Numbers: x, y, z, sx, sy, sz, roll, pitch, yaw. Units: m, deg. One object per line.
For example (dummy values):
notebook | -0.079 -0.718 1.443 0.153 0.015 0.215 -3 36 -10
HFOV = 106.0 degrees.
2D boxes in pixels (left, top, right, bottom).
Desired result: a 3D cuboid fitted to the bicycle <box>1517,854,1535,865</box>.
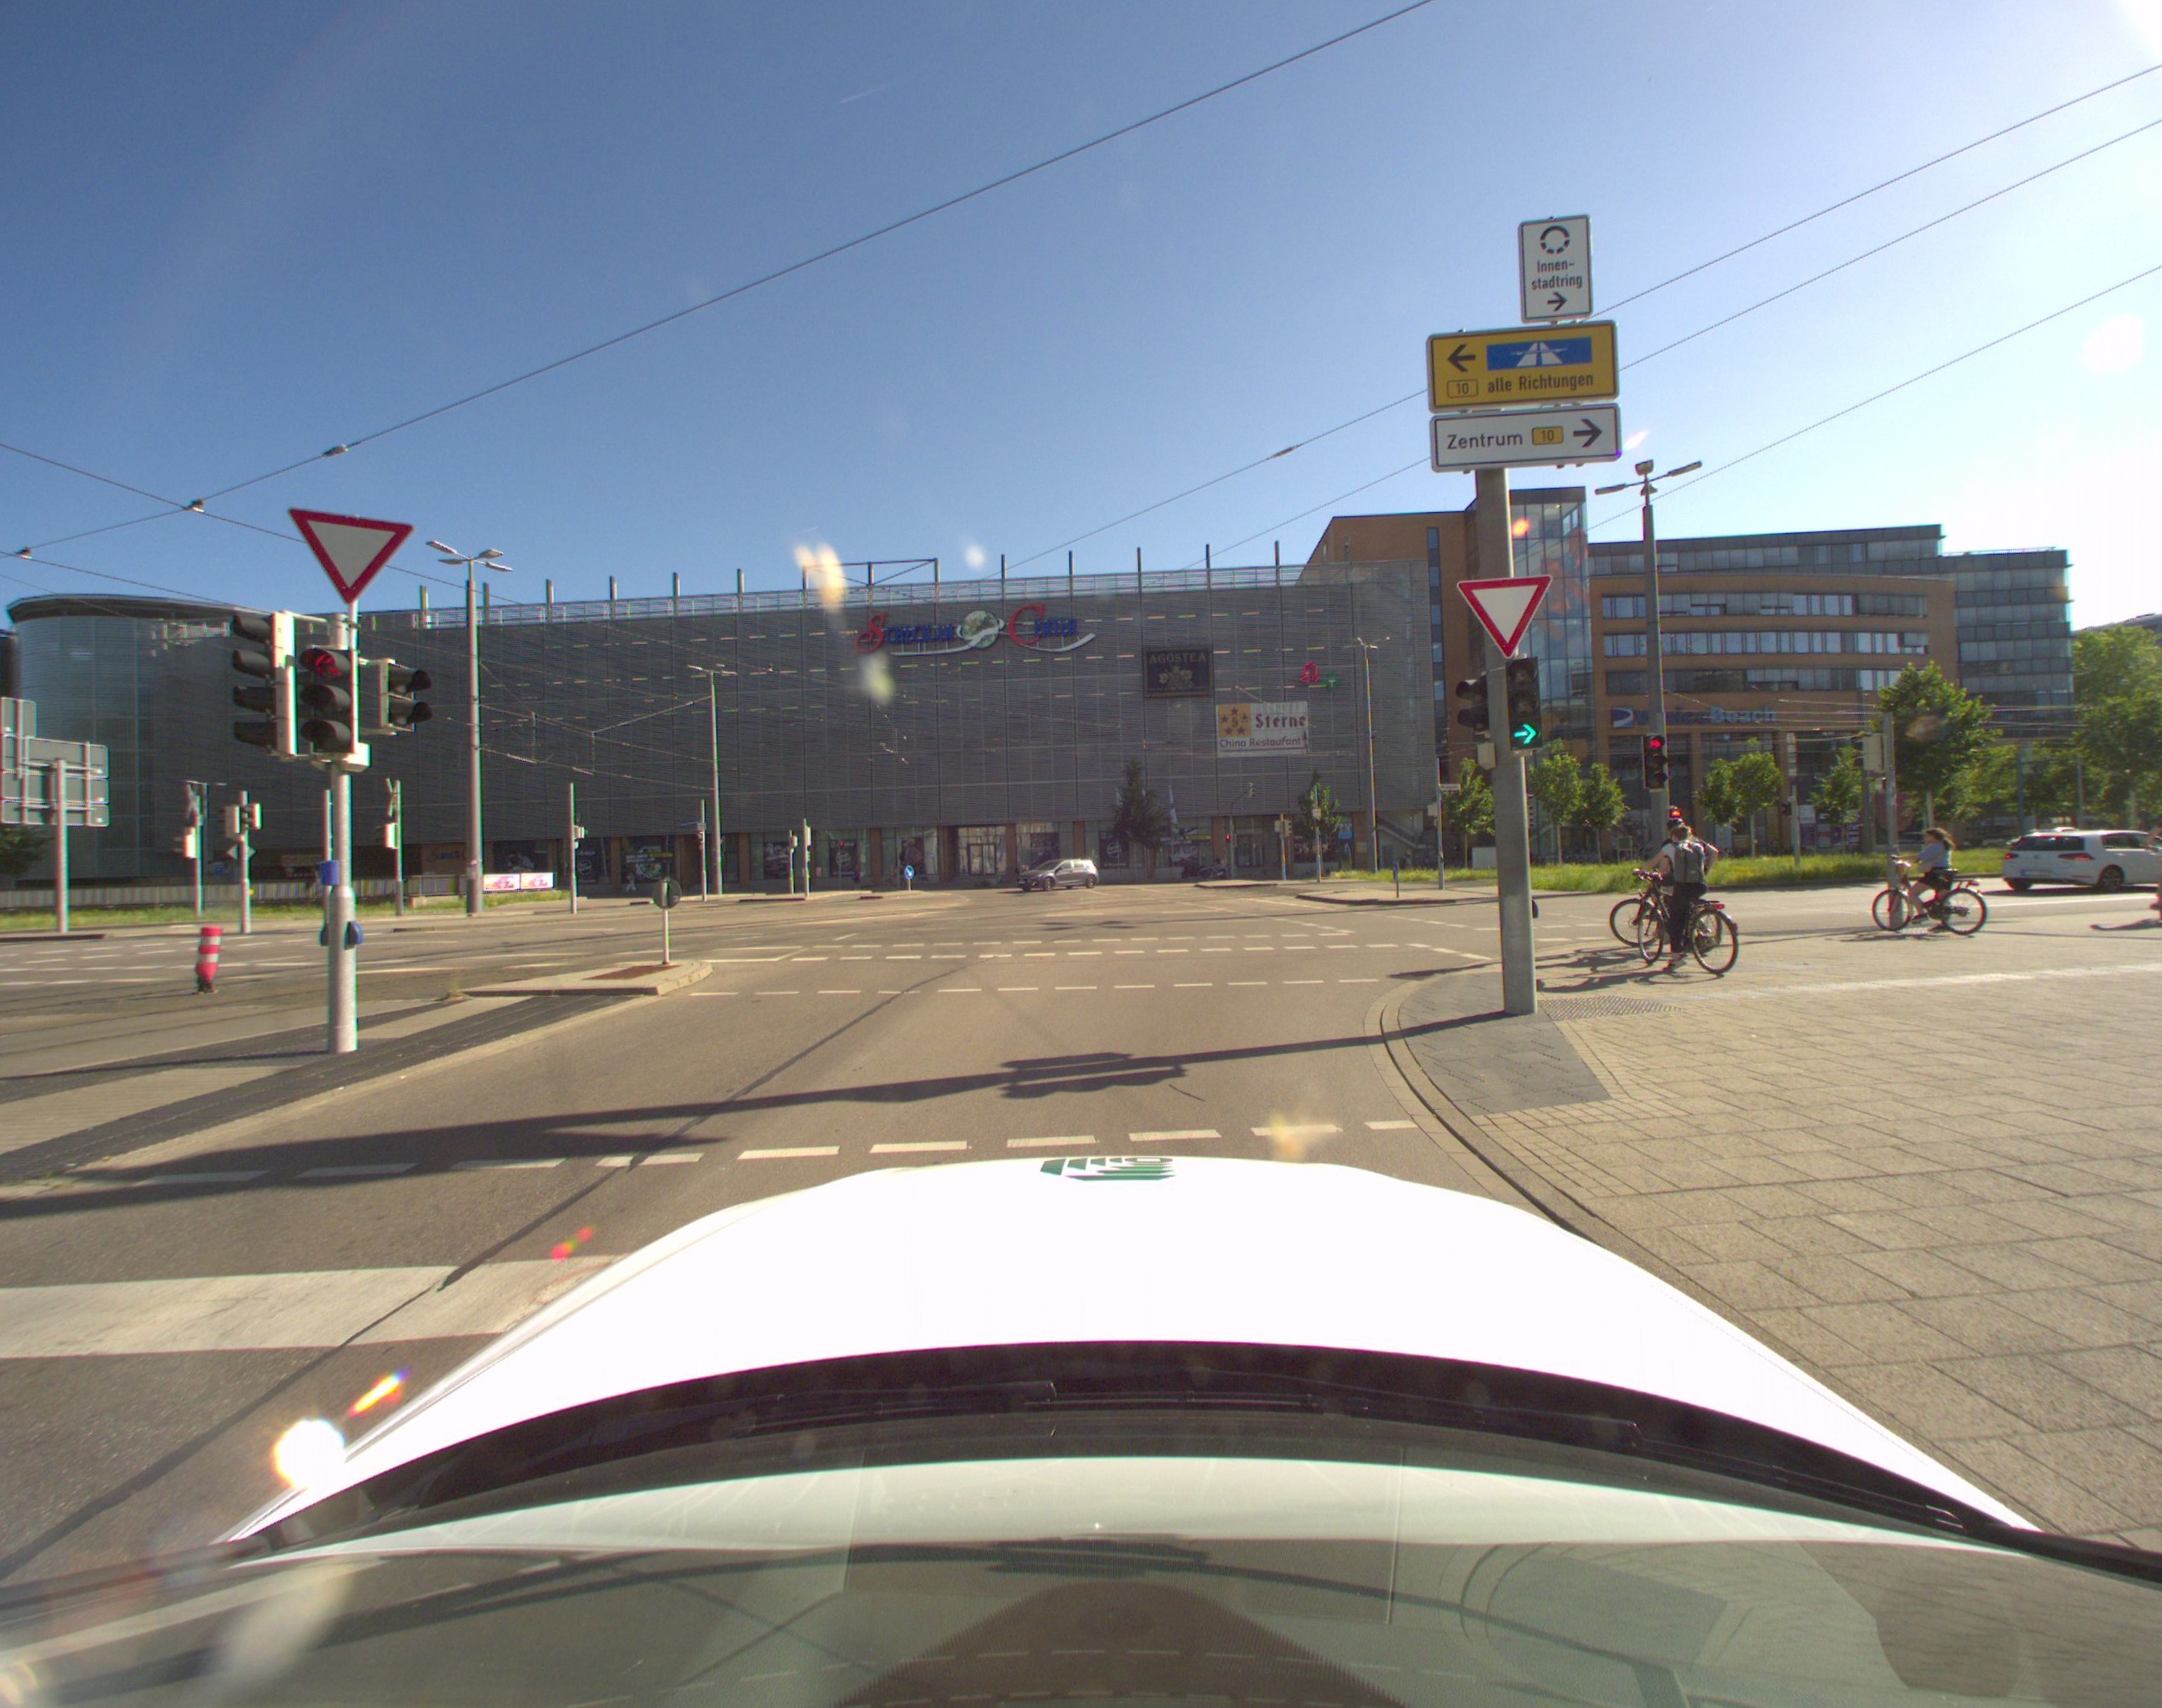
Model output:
bicycle | 33.518 0.410 61.363 0.443 0.819 1.449 -2 0 -3

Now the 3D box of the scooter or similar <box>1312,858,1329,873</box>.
scooter or similar | 17.864 0.862 60.772 1.196 1.103 0.277 0 -1 4

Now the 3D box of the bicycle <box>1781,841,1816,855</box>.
bicycle | 56.523 -0.470 64.206 0.749 1.123 2.178 -2 0 -3

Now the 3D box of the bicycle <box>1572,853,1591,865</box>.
bicycle | 37.633 0.378 61.212 0.443 0.819 1.449 -2 0 -3

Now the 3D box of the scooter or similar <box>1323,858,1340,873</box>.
scooter or similar | 18.784 0.842 61.059 1.196 1.103 0.277 0 -1 4

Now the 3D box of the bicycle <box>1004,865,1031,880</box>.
bicycle | -4.715 1.396 60.314 1.940 1.038 0.572 -2 -1 -3

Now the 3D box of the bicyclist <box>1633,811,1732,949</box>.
bicyclist | 8.297 0.356 11.272 0.547 1.798 0.905 -3 -2 -4

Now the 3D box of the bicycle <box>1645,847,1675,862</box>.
bicycle | 45.778 0.019 64.441 0.749 1.123 2.178 -2 0 -3

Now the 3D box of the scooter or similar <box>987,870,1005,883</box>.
scooter or similar | -5.844 1.532 56.144 1.219 0.851 0.301 -2 -1 -1

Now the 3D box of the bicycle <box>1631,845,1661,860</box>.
bicycle | 44.757 -0.117 64.550 0.749 1.123 2.178 -2 0 -3

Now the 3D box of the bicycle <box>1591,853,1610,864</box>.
bicycle | 39.110 0.316 61.321 0.443 0.819 1.449 -2 0 -3

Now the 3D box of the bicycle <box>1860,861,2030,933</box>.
bicycle | 12.770 0.618 12.123 0.692 0.954 1.708 -3 -2 2

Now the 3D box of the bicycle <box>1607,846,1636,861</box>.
bicycle | 42.787 -0.064 64.455 0.749 1.123 2.178 -2 0 -3

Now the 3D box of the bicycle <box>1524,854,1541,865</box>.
bicycle | 34.044 0.404 61.398 0.443 0.819 1.449 -2 0 -3

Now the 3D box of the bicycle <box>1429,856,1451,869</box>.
bicycle | 26.598 0.611 60.367 0.490 0.954 2.178 -2 0 -3

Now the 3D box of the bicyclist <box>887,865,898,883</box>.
bicyclist | -12.653 1.335 54.648 0.565 1.139 0.554 -1 -1 -31

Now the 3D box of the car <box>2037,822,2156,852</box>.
car | 62.403 -1.031 50.075 5.520 1.652 1.810 -2 -1 -6

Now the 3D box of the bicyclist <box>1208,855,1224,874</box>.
bicyclist | 9.530 0.726 57.589 1.032 1.318 0.682 -2 -1 1

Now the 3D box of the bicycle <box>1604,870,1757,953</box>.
bicycle | 8.309 0.765 11.399 0.603 1.038 1.893 -3 -2 -3

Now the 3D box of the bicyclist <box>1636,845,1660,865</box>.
bicyclist | 41.048 0.074 58.940 1.302 1.407 0.594 -2 -1 3

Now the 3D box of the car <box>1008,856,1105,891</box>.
car | -1.127 0.891 38.764 4.334 1.499 1.976 -1 -1 -43

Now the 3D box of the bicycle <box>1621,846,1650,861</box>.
bicycle | 43.855 -0.070 64.443 0.749 1.123 2.178 -2 0 -3

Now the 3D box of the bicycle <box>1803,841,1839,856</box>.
bicycle | 58.334 -0.459 64.251 0.749 1.123 2.178 -2 0 -3

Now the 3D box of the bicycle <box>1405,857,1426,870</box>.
bicycle | 24.714 0.680 60.163 0.490 0.954 2.178 -2 0 -3

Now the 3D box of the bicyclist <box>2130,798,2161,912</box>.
bicyclist | 16.564 -0.006 12.309 1.057 1.693 0.800 -2 1 -40

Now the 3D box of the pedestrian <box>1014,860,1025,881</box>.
pedestrian | -4.504 1.175 59.391 0.644 1.519 0.492 -2 -1 6

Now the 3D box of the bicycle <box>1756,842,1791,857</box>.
bicycle | 54.571 -0.377 64.189 0.749 1.123 2.178 -2 0 -3

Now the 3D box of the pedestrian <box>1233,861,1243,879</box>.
pedestrian | 10.411 1.061 54.086 0.451 1.229 0.393 -1 -1 -38

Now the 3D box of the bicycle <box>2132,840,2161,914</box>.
bicycle | 16.587 0.331 12.277 1.901 1.036 0.818 -2 1 -40

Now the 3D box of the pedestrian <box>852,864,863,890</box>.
pedestrian | -15.094 1.551 54.965 0.625 1.751 0.585 -1 -1 -17

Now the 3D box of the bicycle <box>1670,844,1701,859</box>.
bicycle | 47.610 -0.207 64.157 0.749 1.123 2.178 -2 0 -3

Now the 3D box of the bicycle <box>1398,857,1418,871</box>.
bicycle | 24.095 0.713 60.096 0.490 0.954 2.178 -2 0 -3

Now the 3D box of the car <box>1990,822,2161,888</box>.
car | 24.660 -0.021 19.508 4.276 1.403 1.774 -2 1 -8

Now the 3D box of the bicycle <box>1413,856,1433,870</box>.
bicycle | 25.369 0.666 60.462 0.490 0.954 2.178 -2 0 -3

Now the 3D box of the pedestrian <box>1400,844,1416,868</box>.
pedestrian | 23.397 0.121 58.273 0.776 1.685 0.595 -2 -1 -12

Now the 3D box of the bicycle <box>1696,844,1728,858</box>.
bicycle | 49.649 -0.248 64.139 0.749 1.123 2.178 -2 0 -3

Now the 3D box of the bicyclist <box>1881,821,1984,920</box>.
bicyclist | 12.708 0.253 12.183 0.585 1.404 0.827 -3 -2 1

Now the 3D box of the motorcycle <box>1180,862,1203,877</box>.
motorcycle | 8.131 1.158 60.018 1.607 1.038 0.402 -2 -1 2

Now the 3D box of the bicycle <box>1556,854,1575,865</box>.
bicycle | 36.454 0.386 61.309 0.443 0.819 1.449 -2 0 -3

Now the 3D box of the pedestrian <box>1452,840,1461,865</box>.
pedestrian | 29.239 -0.126 63.432 0.536 1.915 0.375 0 -1 9

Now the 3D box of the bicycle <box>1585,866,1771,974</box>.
bicycle | 6.914 0.729 9.590 0.692 1.105 2.012 -3 -2 2

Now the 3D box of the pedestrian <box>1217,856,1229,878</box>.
pedestrian | 9.589 0.860 54.894 0.734 1.487 0.491 -2 -1 11

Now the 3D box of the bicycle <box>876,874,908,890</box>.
bicycle | -12.670 1.888 54.615 2.028 0.985 0.554 -1 -1 -31

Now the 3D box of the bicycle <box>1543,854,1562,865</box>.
bicycle | 35.438 0.390 61.227 0.443 0.819 1.449 -2 0 -3

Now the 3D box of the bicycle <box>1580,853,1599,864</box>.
bicycle | 38.241 0.347 61.305 0.443 0.819 1.449 -2 0 -3

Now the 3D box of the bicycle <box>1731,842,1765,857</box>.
bicycle | 52.370 -0.337 63.972 0.749 1.123 2.178 -2 0 -3

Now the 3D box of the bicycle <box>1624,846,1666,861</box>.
bicycle | 40.831 -0.043 58.953 2.550 1.010 0.598 -2 -1 3

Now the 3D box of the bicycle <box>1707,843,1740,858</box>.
bicycle | 50.566 -0.253 64.126 0.749 1.123 2.178 -2 0 -3

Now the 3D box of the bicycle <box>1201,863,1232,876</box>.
bicycle | 9.589 1.091 57.573 2.034 0.867 0.682 -2 -1 1

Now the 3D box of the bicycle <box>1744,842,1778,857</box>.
bicycle | 53.237 -0.334 63.788 0.749 1.123 2.178 -2 0 -3

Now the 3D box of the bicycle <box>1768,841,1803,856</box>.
bicycle | 55.582 -0.412 64.266 0.749 1.123 2.178 -2 0 -3

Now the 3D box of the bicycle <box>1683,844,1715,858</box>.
bicycle | 48.614 -0.242 64.121 0.749 1.123 2.178 -2 0 -3

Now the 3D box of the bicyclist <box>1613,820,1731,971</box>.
bicyclist | 6.901 0.464 9.565 0.591 1.654 1.004 -3 -1 2
